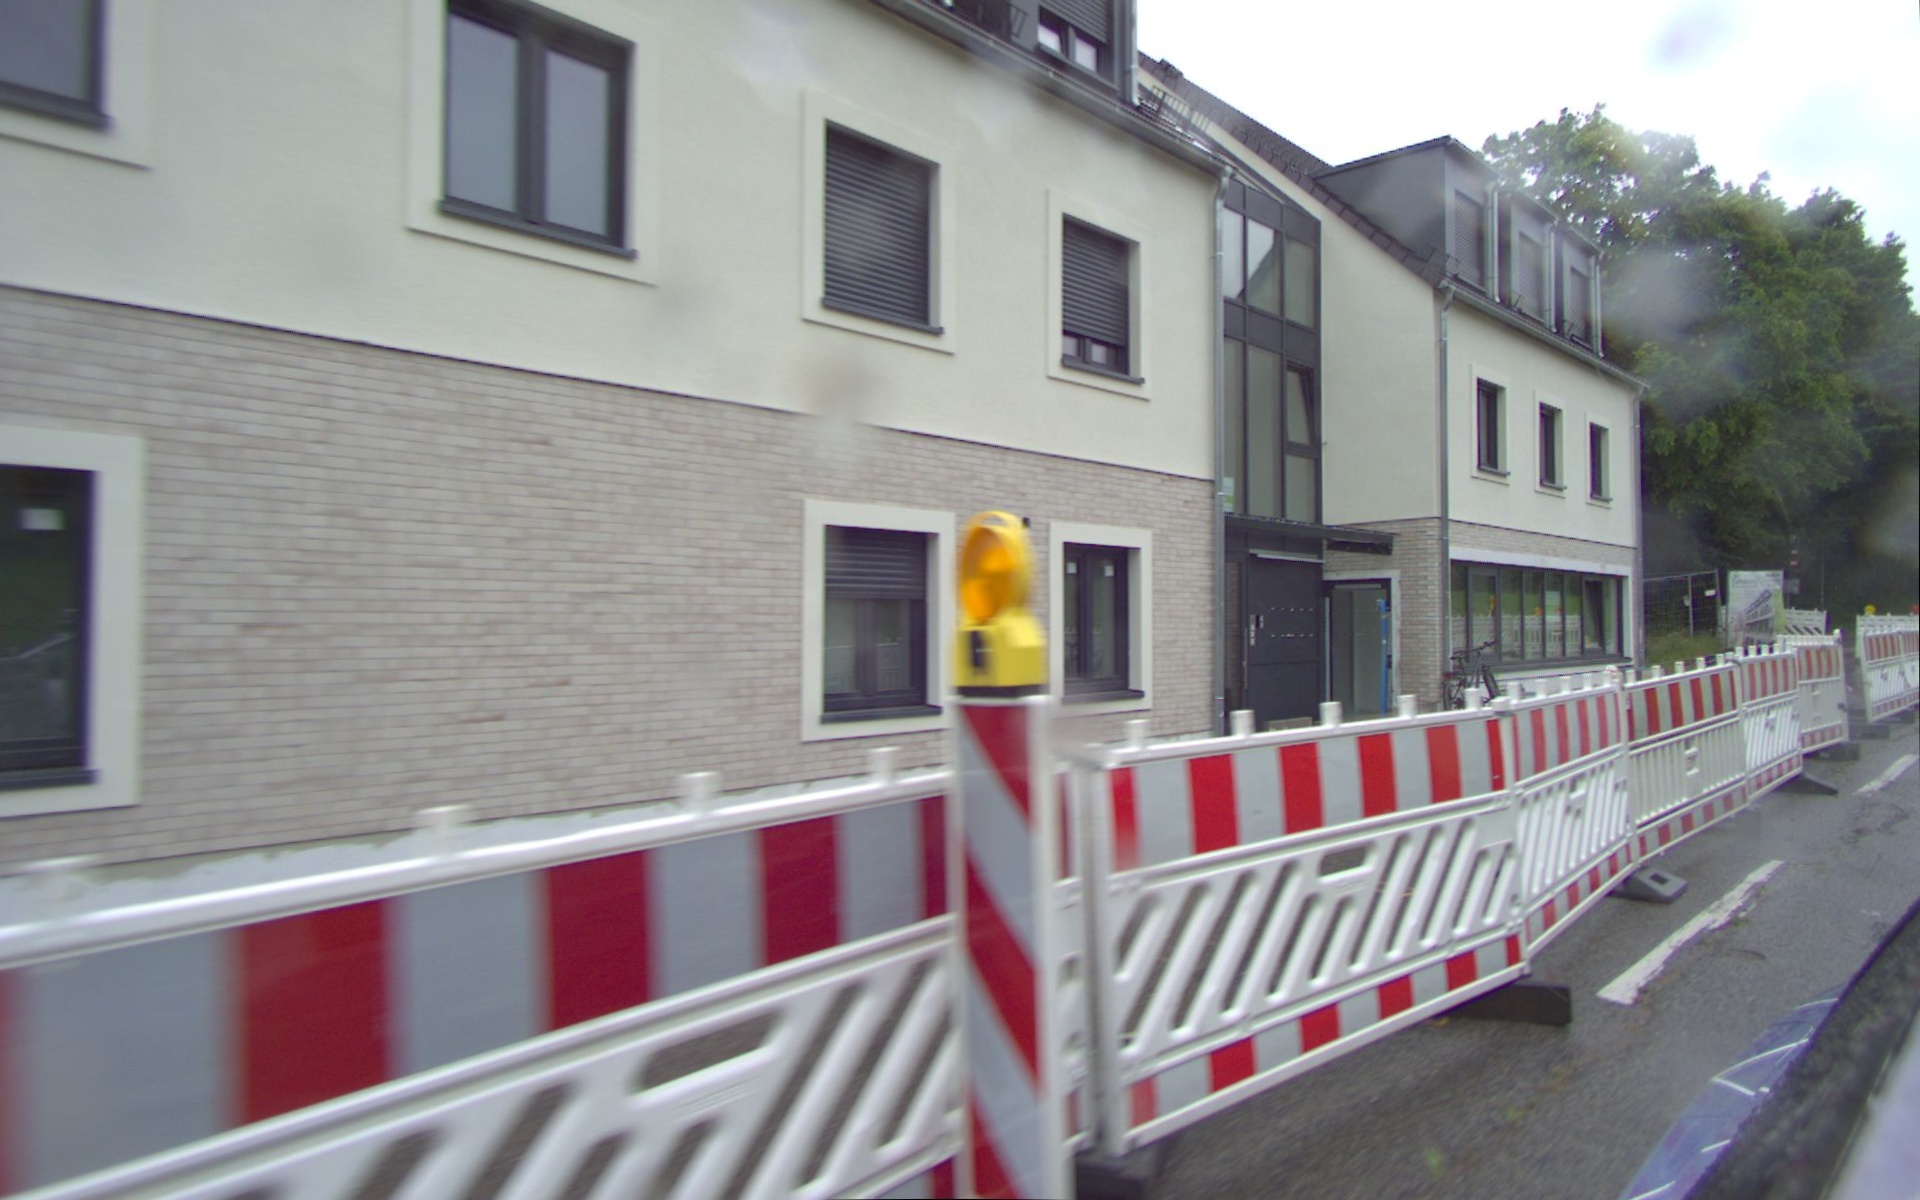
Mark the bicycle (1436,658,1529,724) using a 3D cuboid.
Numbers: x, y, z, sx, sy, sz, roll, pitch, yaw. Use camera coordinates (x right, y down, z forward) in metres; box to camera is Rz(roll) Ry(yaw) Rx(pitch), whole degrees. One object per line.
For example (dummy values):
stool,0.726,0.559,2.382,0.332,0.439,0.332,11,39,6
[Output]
bicycle,7.030,1.193,13.573,1.710,0.705,0.497,0,4,-42
